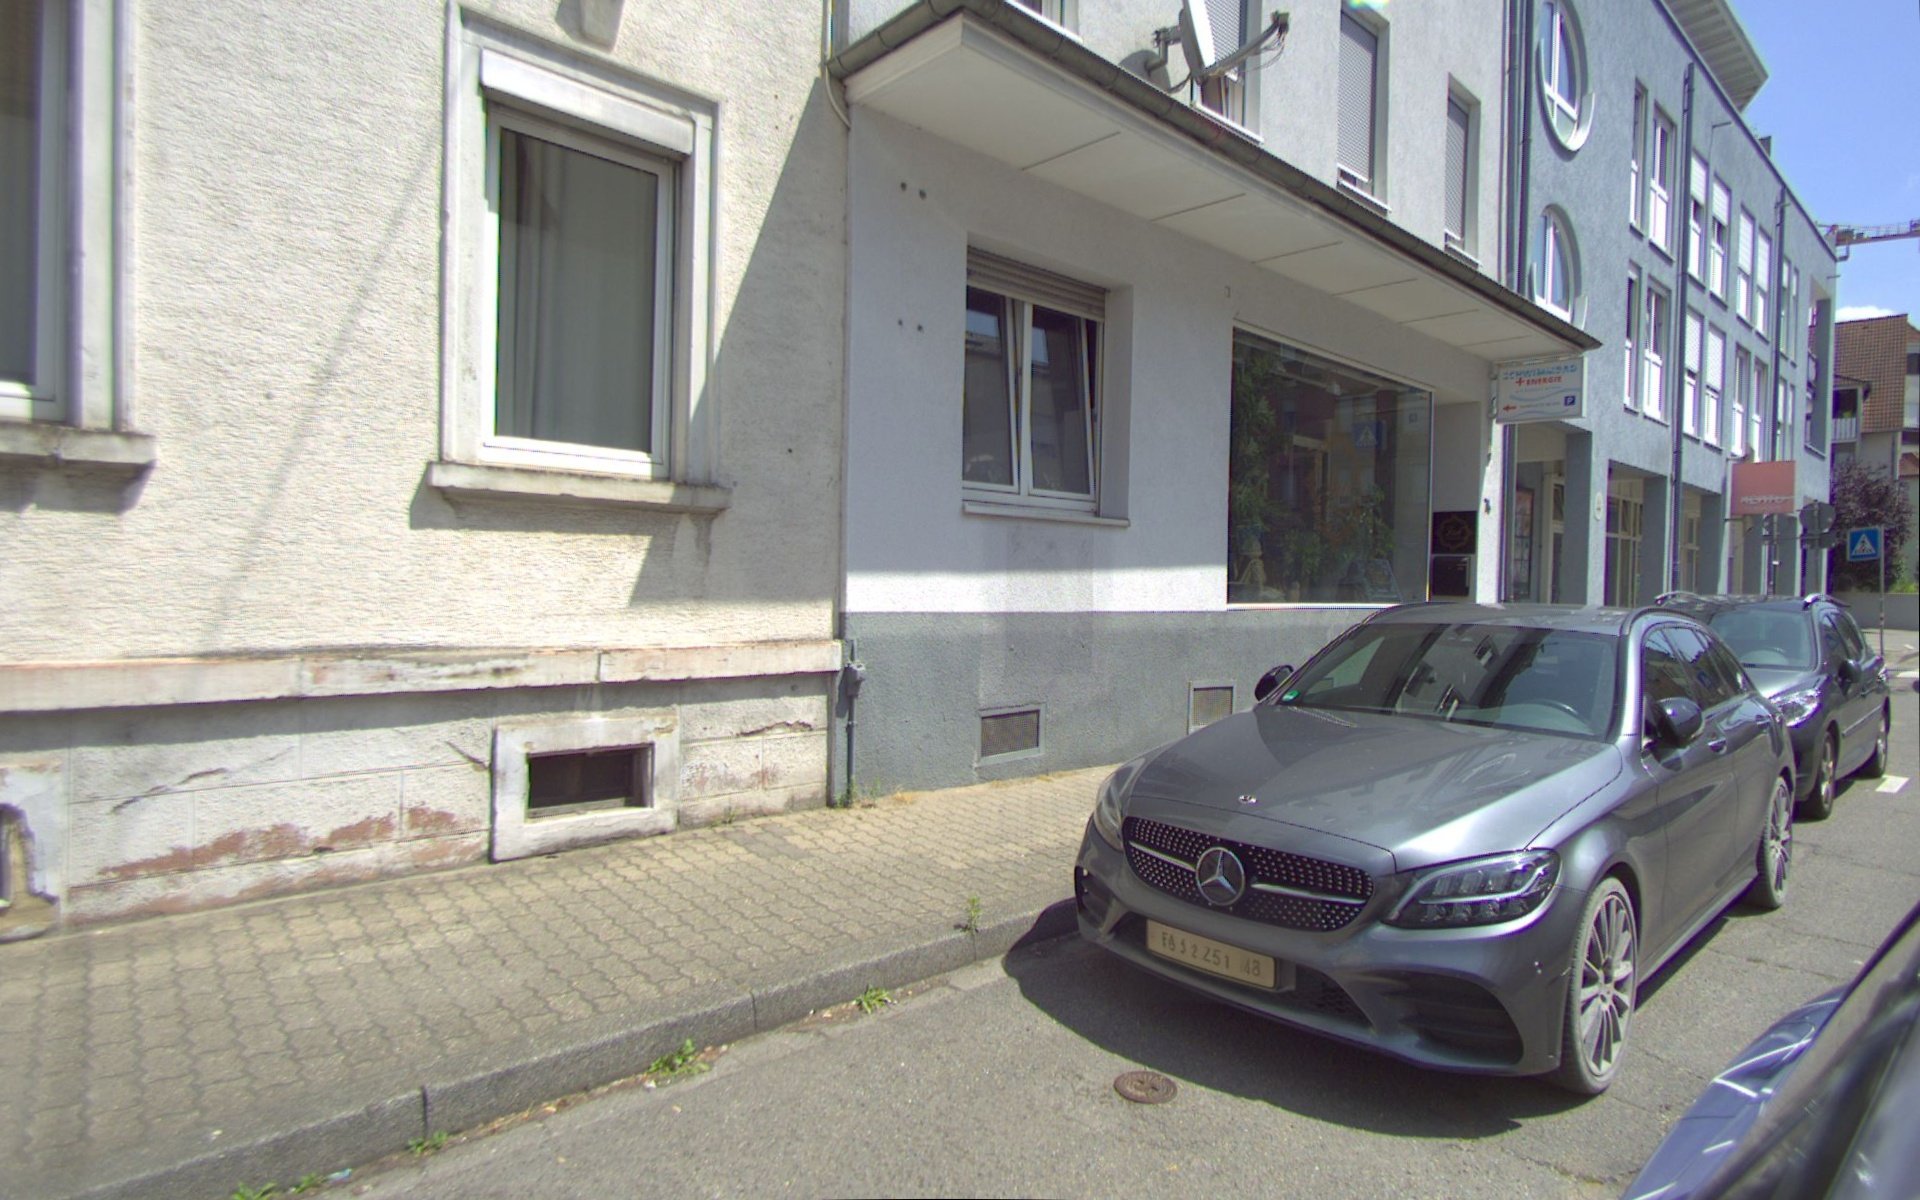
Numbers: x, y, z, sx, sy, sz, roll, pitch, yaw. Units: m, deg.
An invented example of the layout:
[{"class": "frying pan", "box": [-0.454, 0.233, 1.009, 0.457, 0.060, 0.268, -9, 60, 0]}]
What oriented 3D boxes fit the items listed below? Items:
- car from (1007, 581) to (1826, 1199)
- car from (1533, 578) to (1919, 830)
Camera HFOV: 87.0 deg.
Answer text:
[{"class": "car", "box": [2.390, 0.666, 4.517, 4.468, 1.437, 1.731, 0, 2, -43]}, {"class": "car", "box": [6.311, 0.616, 8.147, 3.930, 1.527, 1.713, 0, 2, -41]}]
